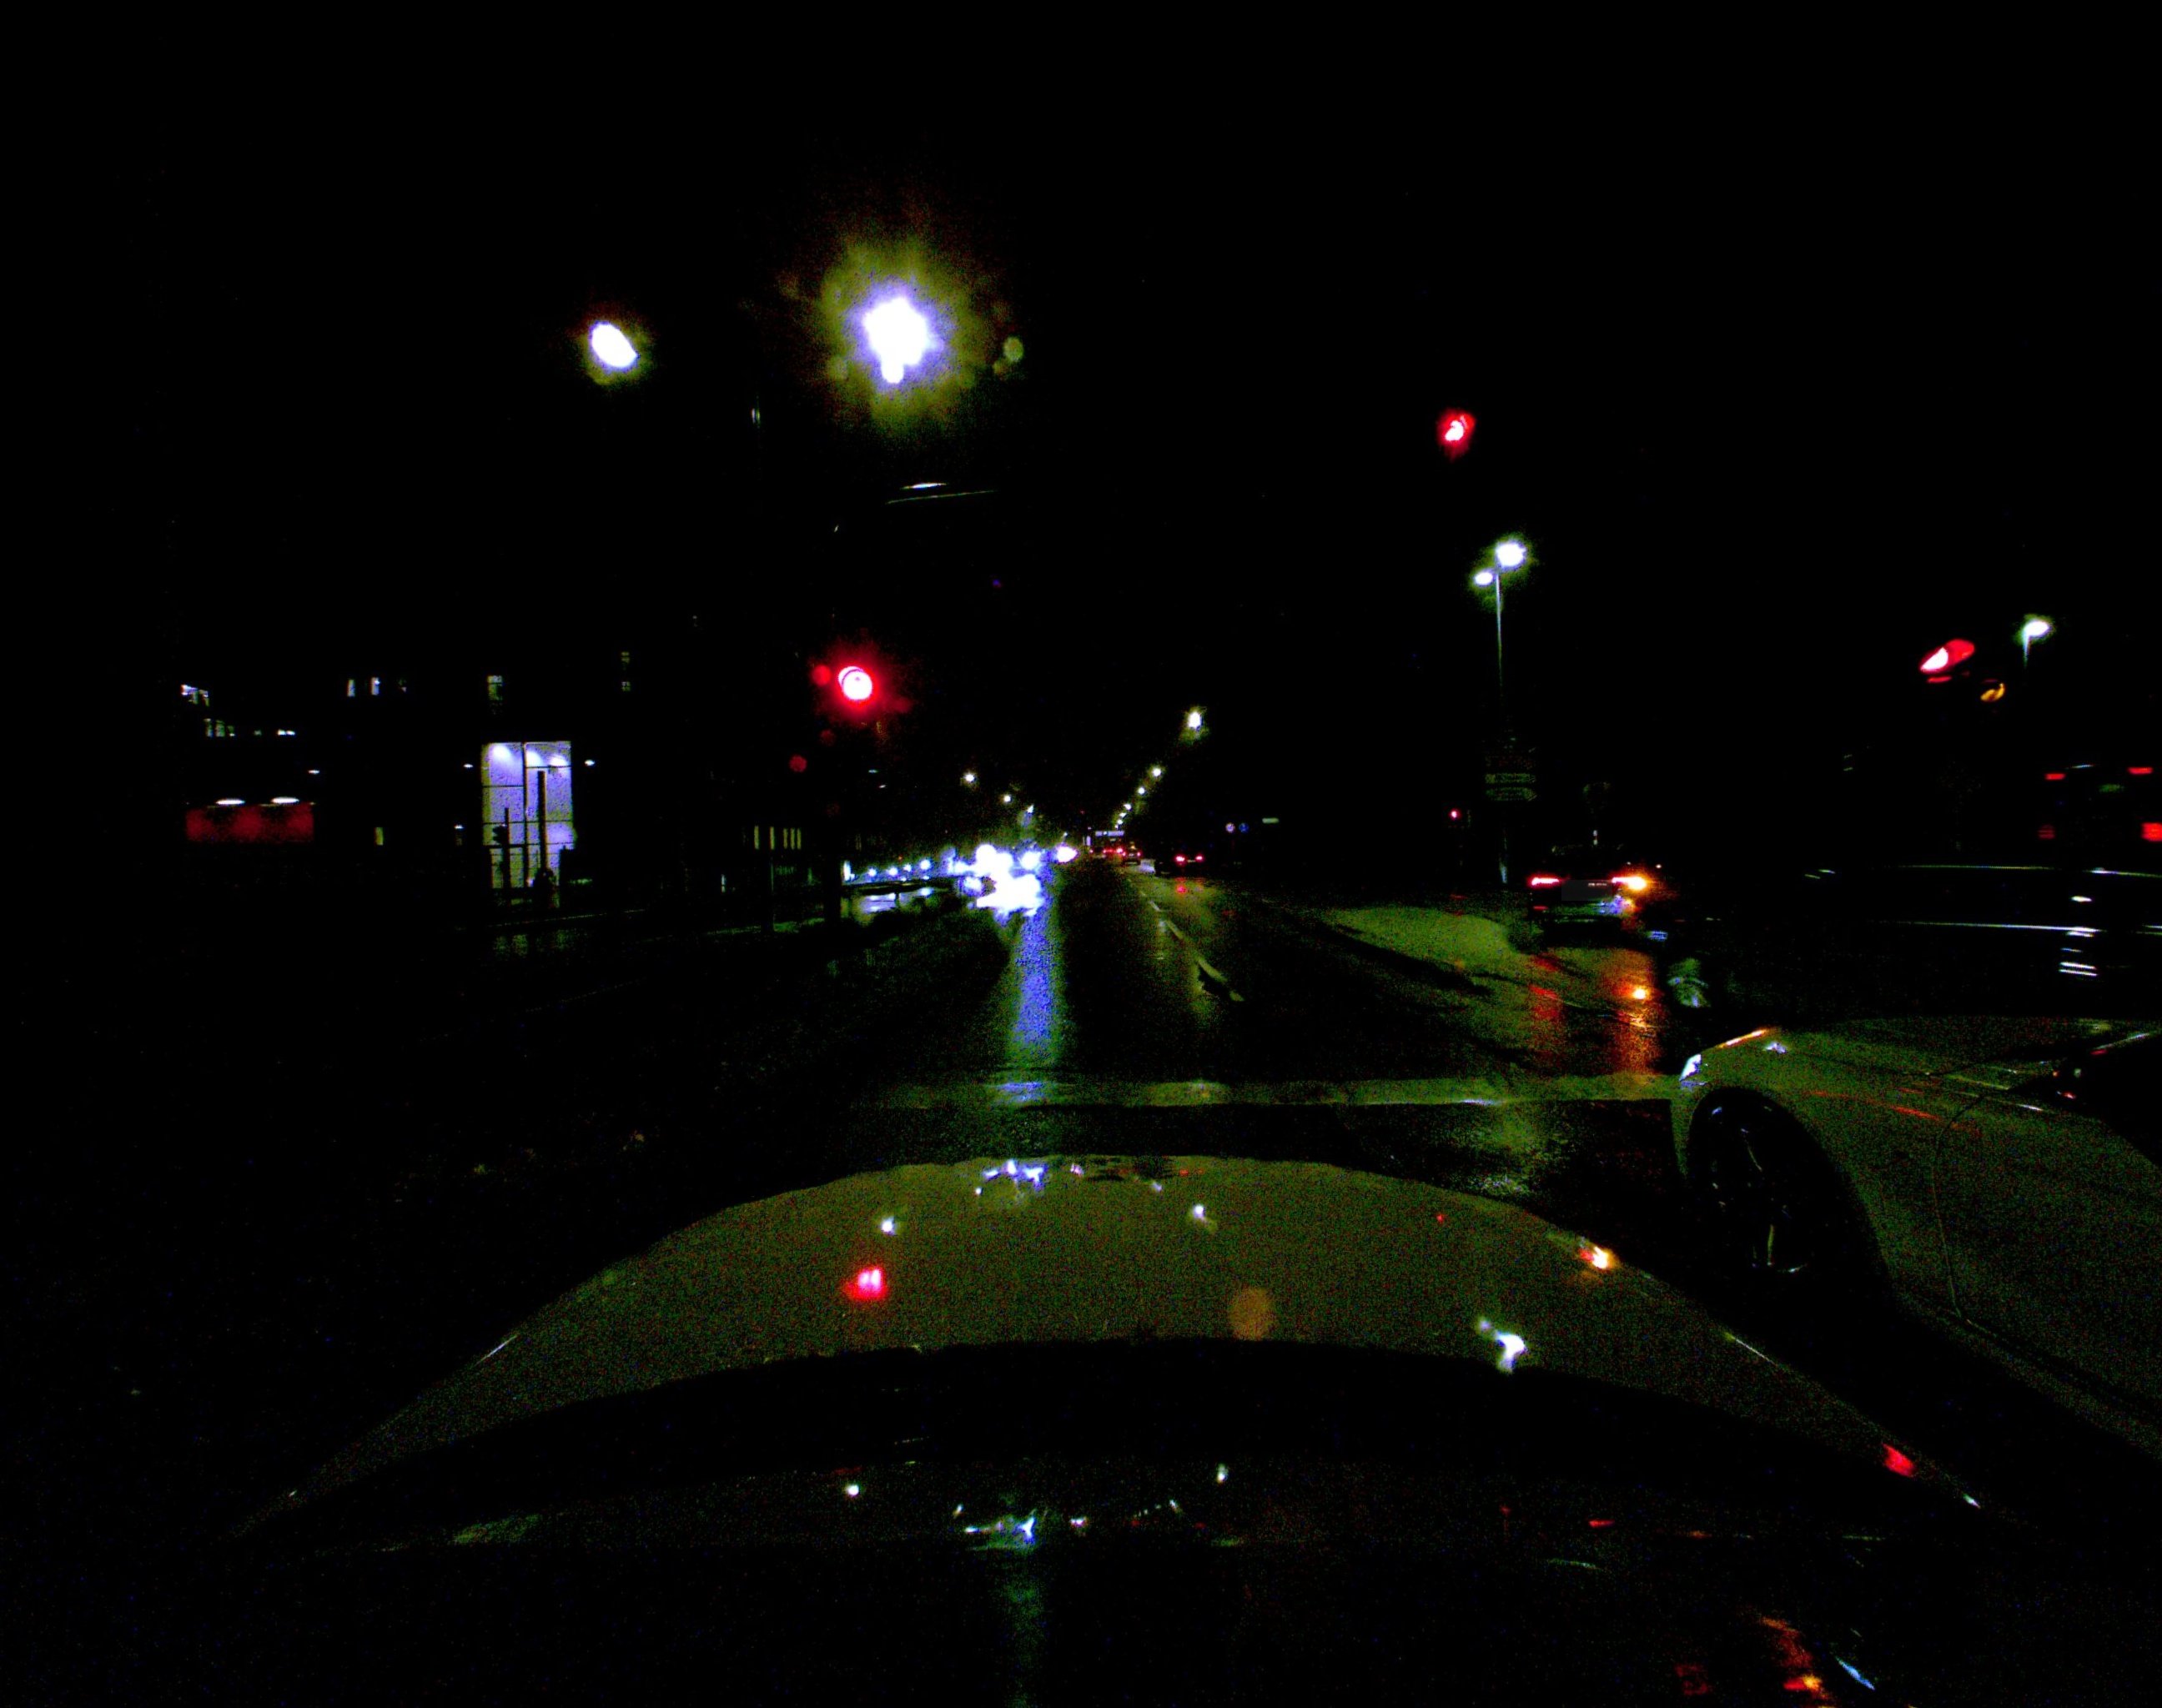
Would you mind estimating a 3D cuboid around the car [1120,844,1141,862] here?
[{"bbox_3d":[4.753,-0.054,78.990,1.785,1.679,4.427,0,-1,0],"label":"car"}]

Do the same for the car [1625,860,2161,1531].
[{"bbox_3d":[3.118,0.718,1.288,1.710,1.404,4.351,0,0,2],"label":"car"}]

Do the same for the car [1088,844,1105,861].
[{"bbox_3d":[1.733,-0.144,88.833,1.784,1.874,4.628,0,-1,1],"label":"car"}]

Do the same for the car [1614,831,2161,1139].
[{"bbox_3d":[6.180,0.612,5.682,1.842,1.484,4.628,-2,1,-1],"label":"car"}]

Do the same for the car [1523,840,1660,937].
[{"bbox_3d":[9.150,0.545,14.869,1.820,1.478,4.657,-1,-1,29],"label":"car"}]

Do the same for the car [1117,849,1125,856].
[{"bbox_3d":[10.878,-0.478,220.964,1.986,1.759,4.001,0,-1,2],"label":"car"}]

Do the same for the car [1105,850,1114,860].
[{"bbox_3d":[5.537,0.179,160.002,1.784,1.874,4.628,0,-1,1],"label":"car"}]

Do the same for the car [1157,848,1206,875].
[{"bbox_3d":[5.837,0.433,47.596,1.790,1.487,4.140,0,-1,-9],"label":"car"}]

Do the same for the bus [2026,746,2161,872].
[{"bbox_3d":[31.607,-1.166,21.560,9.692,3.123,2.779,0,0,2],"label":"bus"}]
